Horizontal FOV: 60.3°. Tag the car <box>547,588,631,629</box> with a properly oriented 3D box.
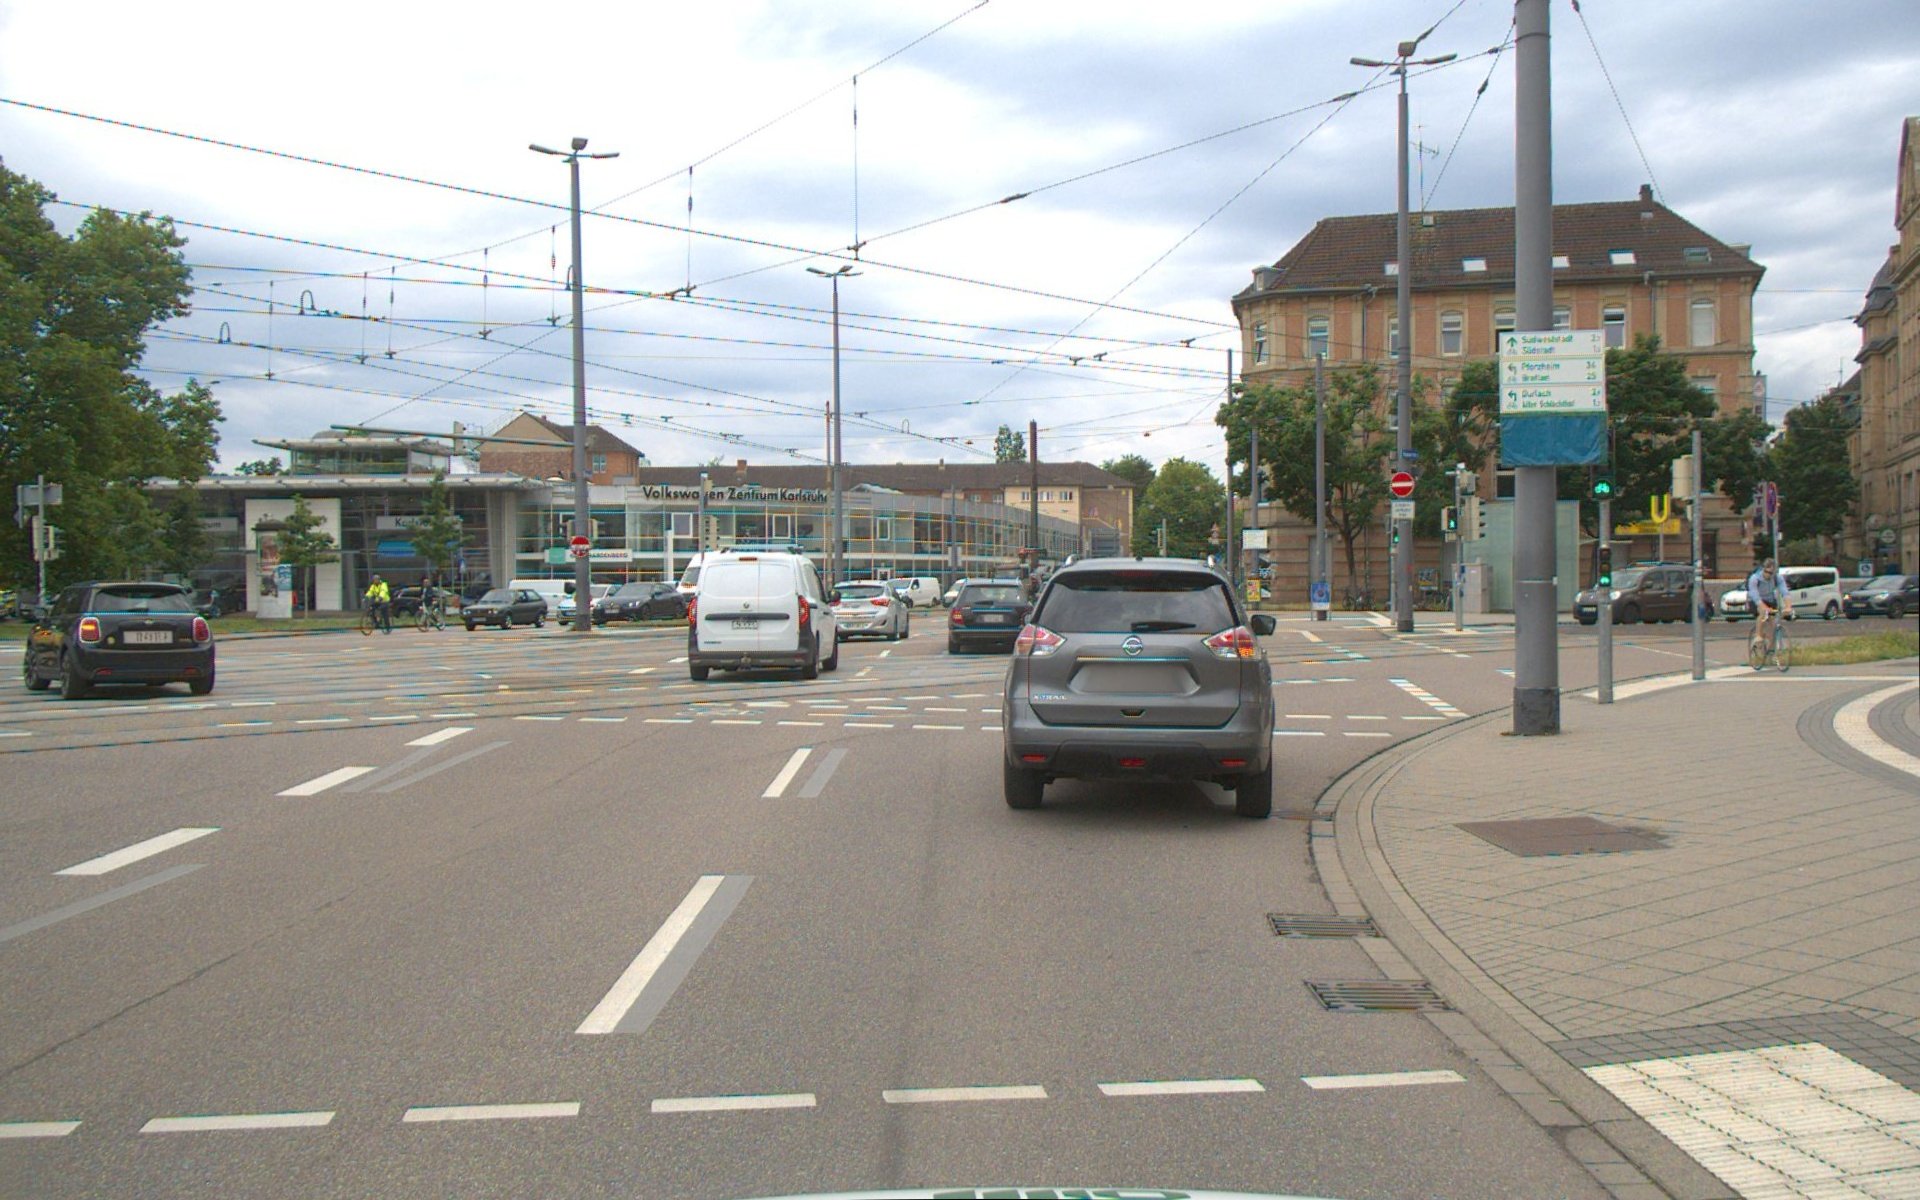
[{"bbox_3d":[-13.569,0.291,60.702,1.600,1.445,3.741,0,1,12],"label":"car"}]

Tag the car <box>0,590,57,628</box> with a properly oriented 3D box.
[{"bbox_3d":[-51.972,0.495,91.362,1.952,2.049,4.001,1,0,1],"label":"car"}]

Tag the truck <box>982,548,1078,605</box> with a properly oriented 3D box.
[{"bbox_3d":[4.768,-1.512,110.306,2.740,3.611,9.212,1,0,27],"label":"truck"}]

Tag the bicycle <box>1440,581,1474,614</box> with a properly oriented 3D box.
[{"bbox_3d":[21.722,-0.114,72.276,0.939,1.378,3.118,1,0,26],"label":"bicycle"}]

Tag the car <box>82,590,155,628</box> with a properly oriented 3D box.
[{"bbox_3d":[-46.540,0.486,91.580,1.952,2.049,4.001,1,0,1],"label":"car"}]

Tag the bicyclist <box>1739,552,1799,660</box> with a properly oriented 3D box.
[{"bbox_3d":[12.314,0.090,25.173,0.678,1.587,0.924,-2,1,32],"label":"bicyclist"}]

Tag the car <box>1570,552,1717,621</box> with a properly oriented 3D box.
[{"bbox_3d":[20.041,-0.390,48.473,4.323,1.933,1.678,0,0,-29],"label":"car"}]

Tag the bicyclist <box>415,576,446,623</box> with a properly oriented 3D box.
[{"bbox_3d":[-17.696,-0.015,55.292,0.554,1.534,0.857,0,2,17],"label":"bicyclist"}]

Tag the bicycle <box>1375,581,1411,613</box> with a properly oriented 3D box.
[{"bbox_3d":[19.073,-0.144,72.821,0.939,1.378,3.118,1,0,26],"label":"bicycle"}]

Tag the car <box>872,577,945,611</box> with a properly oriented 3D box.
[{"bbox_3d":[-2.880,-0.374,93.842,2.112,1.889,5.447,0,1,22],"label":"car"}]

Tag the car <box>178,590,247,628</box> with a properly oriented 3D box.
[{"bbox_3d":[-41.285,0.476,91.429,1.952,2.049,4.001,1,0,1],"label":"car"}]

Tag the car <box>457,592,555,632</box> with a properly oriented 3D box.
[{"bbox_3d":[-15.192,0.391,55.530,1.650,1.268,3.741,0,1,12],"label":"car"}]

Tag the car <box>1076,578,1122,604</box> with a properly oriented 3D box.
[{"bbox_3d":[10.172,-0.645,120.396,1.953,1.871,4.521,0,1,24],"label":"car"}]

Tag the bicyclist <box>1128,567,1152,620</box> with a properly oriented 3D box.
[{"bbox_3d":[5.880,-0.216,54.068,0.673,1.738,0.798,-1,0,1],"label":"bicyclist"}]

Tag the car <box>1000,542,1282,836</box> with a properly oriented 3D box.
[{"bbox_3d":[1.407,0.532,12.109,1.712,1.786,3.927,0,0,9],"label":"car"}]

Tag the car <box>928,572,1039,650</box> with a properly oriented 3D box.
[{"bbox_3d":[0.528,0.190,32.897,1.951,1.445,4.002,-1,0,4],"label":"car"}]

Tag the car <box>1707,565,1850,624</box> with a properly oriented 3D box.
[{"bbox_3d":[28.170,-0.223,56.910,5.025,1.949,1.852,-1,0,-28],"label":"car"}]

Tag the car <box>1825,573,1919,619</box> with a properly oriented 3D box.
[{"bbox_3d":[33.495,-0.158,59.806,4.238,1.561,1.852,-1,-1,-28],"label":"car"}]

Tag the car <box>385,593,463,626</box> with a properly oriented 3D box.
[{"bbox_3d":[-24.398,0.412,75.382,1.600,1.445,3.740,0,1,15],"label":"car"}]

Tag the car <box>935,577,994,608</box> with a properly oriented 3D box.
[{"bbox_3d":[0.296,-0.465,101.016,1.953,1.871,4.521,0,1,24],"label":"car"}]

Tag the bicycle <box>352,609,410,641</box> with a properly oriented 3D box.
[{"bbox_3d":[-18.397,0.791,52.618,0.507,0.946,2.224,0,1,16],"label":"bicycle"}]

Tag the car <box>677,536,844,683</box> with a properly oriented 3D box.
[{"bbox_3d":[-2.837,0.111,24.398,1.873,1.974,4.132,0,0,1],"label":"car"}]

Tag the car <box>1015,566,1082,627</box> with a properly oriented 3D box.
[{"bbox_3d":[3.180,-0.119,58.479,1.951,2.049,4.003,1,0,9],"label":"car"}]

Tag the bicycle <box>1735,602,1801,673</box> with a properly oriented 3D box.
[{"bbox_3d":[12.314,0.561,25.169,0.658,0.949,1.854,-4,0,32],"label":"bicycle"}]

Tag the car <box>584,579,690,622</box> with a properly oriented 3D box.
[{"bbox_3d":[-11.233,-0.007,57.922,1.951,1.445,4.666,0,1,12],"label":"car"}]

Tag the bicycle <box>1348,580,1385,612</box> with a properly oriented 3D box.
[{"bbox_3d":[18.004,-0.157,73.213,0.939,1.378,3.118,1,0,26],"label":"bicycle"}]

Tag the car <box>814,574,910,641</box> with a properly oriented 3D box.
[{"bbox_3d":[-2.308,0.169,40.031,1.814,1.534,4.002,1,0,4],"label":"car"}]

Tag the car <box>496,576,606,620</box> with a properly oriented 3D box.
[{"bbox_3d":[-19.787,-0.124,80.061,4.664,2.049,2.123,1,0,13],"label":"car"}]

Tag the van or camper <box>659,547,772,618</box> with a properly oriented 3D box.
[{"bbox_3d":[-9.577,-0.682,65.394,2.363,2.656,6.057,1,0,13],"label":"van or camper"}]

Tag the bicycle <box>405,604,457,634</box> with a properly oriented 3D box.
[{"bbox_3d":[-17.672,0.634,55.310,0.507,0.942,2.224,0,1,16],"label":"bicycle"}]

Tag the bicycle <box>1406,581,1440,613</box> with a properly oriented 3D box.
[{"bbox_3d":[20.284,-0.130,72.397,0.939,1.378,3.118,1,0,26],"label":"bicycle"}]

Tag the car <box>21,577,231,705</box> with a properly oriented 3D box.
[{"bbox_3d":[-10.964,0.476,21.608,1.757,1.494,3.946,-1,0,-37],"label":"car"}]

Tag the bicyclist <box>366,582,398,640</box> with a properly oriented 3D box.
[{"bbox_3d":[-18.370,0.337,52.588,0.614,1.835,0.798,0,0,17],"label":"bicyclist"}]

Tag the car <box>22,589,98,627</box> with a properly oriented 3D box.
[{"bbox_3d":[-49.592,0.415,91.219,1.952,2.049,4.001,1,0,1],"label":"car"}]
